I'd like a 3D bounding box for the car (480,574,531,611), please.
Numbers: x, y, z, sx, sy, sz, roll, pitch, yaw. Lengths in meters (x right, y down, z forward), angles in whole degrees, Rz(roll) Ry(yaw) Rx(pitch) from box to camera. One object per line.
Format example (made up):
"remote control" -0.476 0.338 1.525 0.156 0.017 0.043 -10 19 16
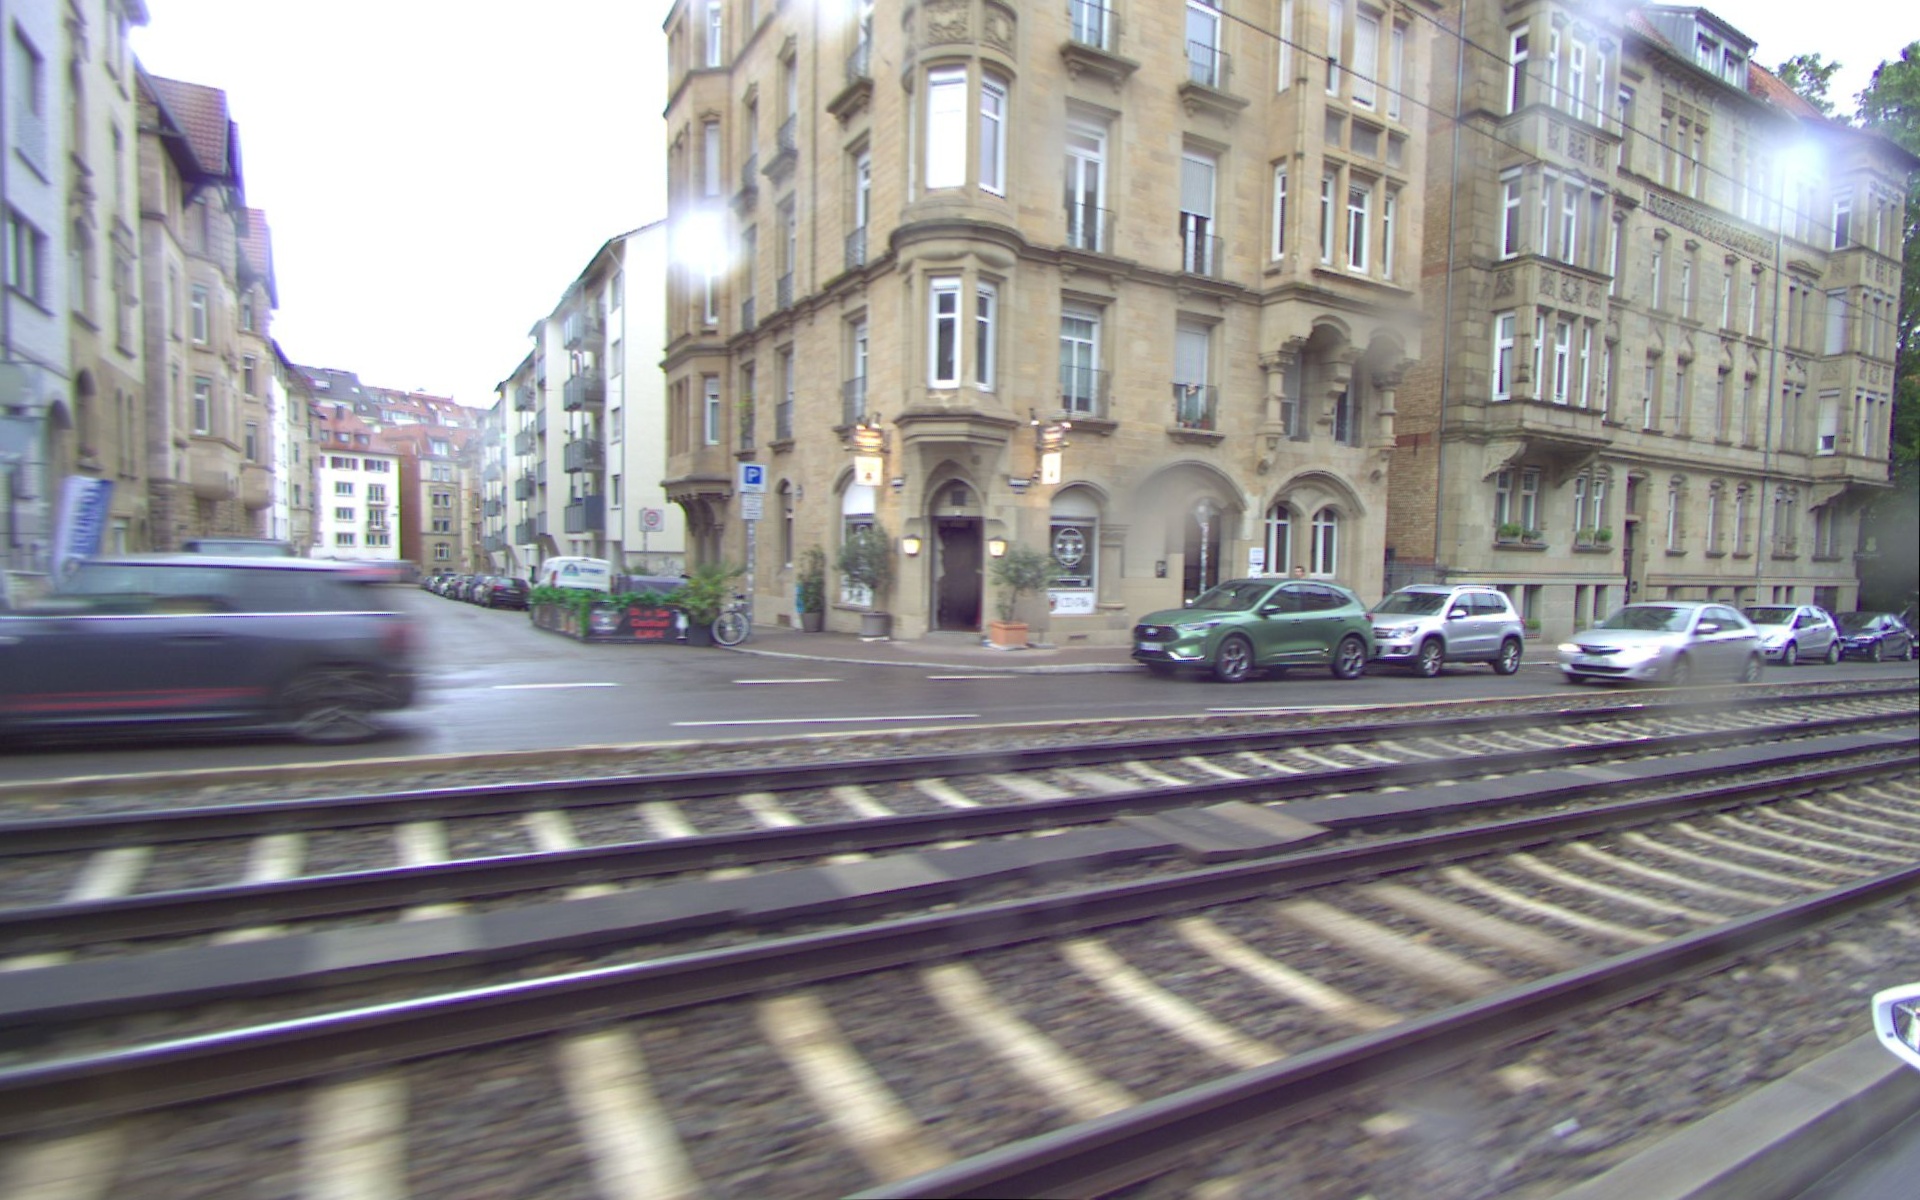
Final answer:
"car" -20.229 -0.338 44.652 1.646 1.557 3.418 1 0 -31

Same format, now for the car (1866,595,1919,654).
"car" 31.997 0.805 33.154 4.763 1.871 1.792 1 0 -31

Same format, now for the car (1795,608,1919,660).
"car" 26.882 0.986 30.003 4.222 1.417 1.753 1 0 -32

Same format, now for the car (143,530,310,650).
"car" -12.333 -0.211 17.182 2.013 1.751 4.663 1 2 -33

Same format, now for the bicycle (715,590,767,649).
"bicycle" -4.426 0.376 20.430 0.608 1.134 2.136 1 0 -1

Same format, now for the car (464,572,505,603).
"car" -25.623 -0.668 54.060 1.646 1.557 3.418 1 0 -31

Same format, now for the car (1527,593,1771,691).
"car" 12.031 0.679 17.487 4.246 1.476 1.971 1 1 -32

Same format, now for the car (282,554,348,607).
"car" -24.828 -0.711 38.796 1.927 1.895 4.759 1 0 -30

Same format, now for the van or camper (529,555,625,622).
"van or camper" -11.272 -0.310 29.396 1.921 1.799 3.932 1 0 -31

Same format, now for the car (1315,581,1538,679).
"car" 8.980 0.539 19.262 4.267 1.674 1.848 1 1 -32

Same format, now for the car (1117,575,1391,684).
"car" 4.957 0.468 16.826 4.375 1.623 1.850 1 1 -29

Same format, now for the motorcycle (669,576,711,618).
"motorcycle" -8.263 -0.093 30.653 0.699 1.247 2.064 1 0 -31

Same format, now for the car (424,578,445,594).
"car" -51.704 -1.377 98.817 1.671 1.493 3.754 1 0 -31

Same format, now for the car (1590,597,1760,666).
"car" 17.448 0.751 24.476 4.121 1.528 1.861 1 1 -31

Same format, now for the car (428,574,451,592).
"car" -47.354 -1.532 91.305 1.671 1.493 3.756 1 0 -30

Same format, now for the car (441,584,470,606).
"car" -36.445 -0.348 72.497 1.671 1.493 3.756 1 0 -30

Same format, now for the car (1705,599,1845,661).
"car" 21.937 0.778 27.022 3.809 1.544 1.687 1 0 -30

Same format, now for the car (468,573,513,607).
"car" -23.049 -0.485 49.255 1.646 1.557 3.418 1 0 -31

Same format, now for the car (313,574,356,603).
"car" -32.225 -0.567 51.826 1.686 1.409 4.424 1 0 -30

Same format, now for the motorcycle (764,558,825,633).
"motorcycle" -3.806 -0.092 23.003 0.616 1.641 2.064 1 0 -32

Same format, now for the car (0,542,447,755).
"car" -6.055 0.319 7.729 3.733 1.406 1.698 1 1 -28

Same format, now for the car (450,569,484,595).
"car" -30.752 -1.076 62.607 1.646 1.557 3.418 1 0 -31
